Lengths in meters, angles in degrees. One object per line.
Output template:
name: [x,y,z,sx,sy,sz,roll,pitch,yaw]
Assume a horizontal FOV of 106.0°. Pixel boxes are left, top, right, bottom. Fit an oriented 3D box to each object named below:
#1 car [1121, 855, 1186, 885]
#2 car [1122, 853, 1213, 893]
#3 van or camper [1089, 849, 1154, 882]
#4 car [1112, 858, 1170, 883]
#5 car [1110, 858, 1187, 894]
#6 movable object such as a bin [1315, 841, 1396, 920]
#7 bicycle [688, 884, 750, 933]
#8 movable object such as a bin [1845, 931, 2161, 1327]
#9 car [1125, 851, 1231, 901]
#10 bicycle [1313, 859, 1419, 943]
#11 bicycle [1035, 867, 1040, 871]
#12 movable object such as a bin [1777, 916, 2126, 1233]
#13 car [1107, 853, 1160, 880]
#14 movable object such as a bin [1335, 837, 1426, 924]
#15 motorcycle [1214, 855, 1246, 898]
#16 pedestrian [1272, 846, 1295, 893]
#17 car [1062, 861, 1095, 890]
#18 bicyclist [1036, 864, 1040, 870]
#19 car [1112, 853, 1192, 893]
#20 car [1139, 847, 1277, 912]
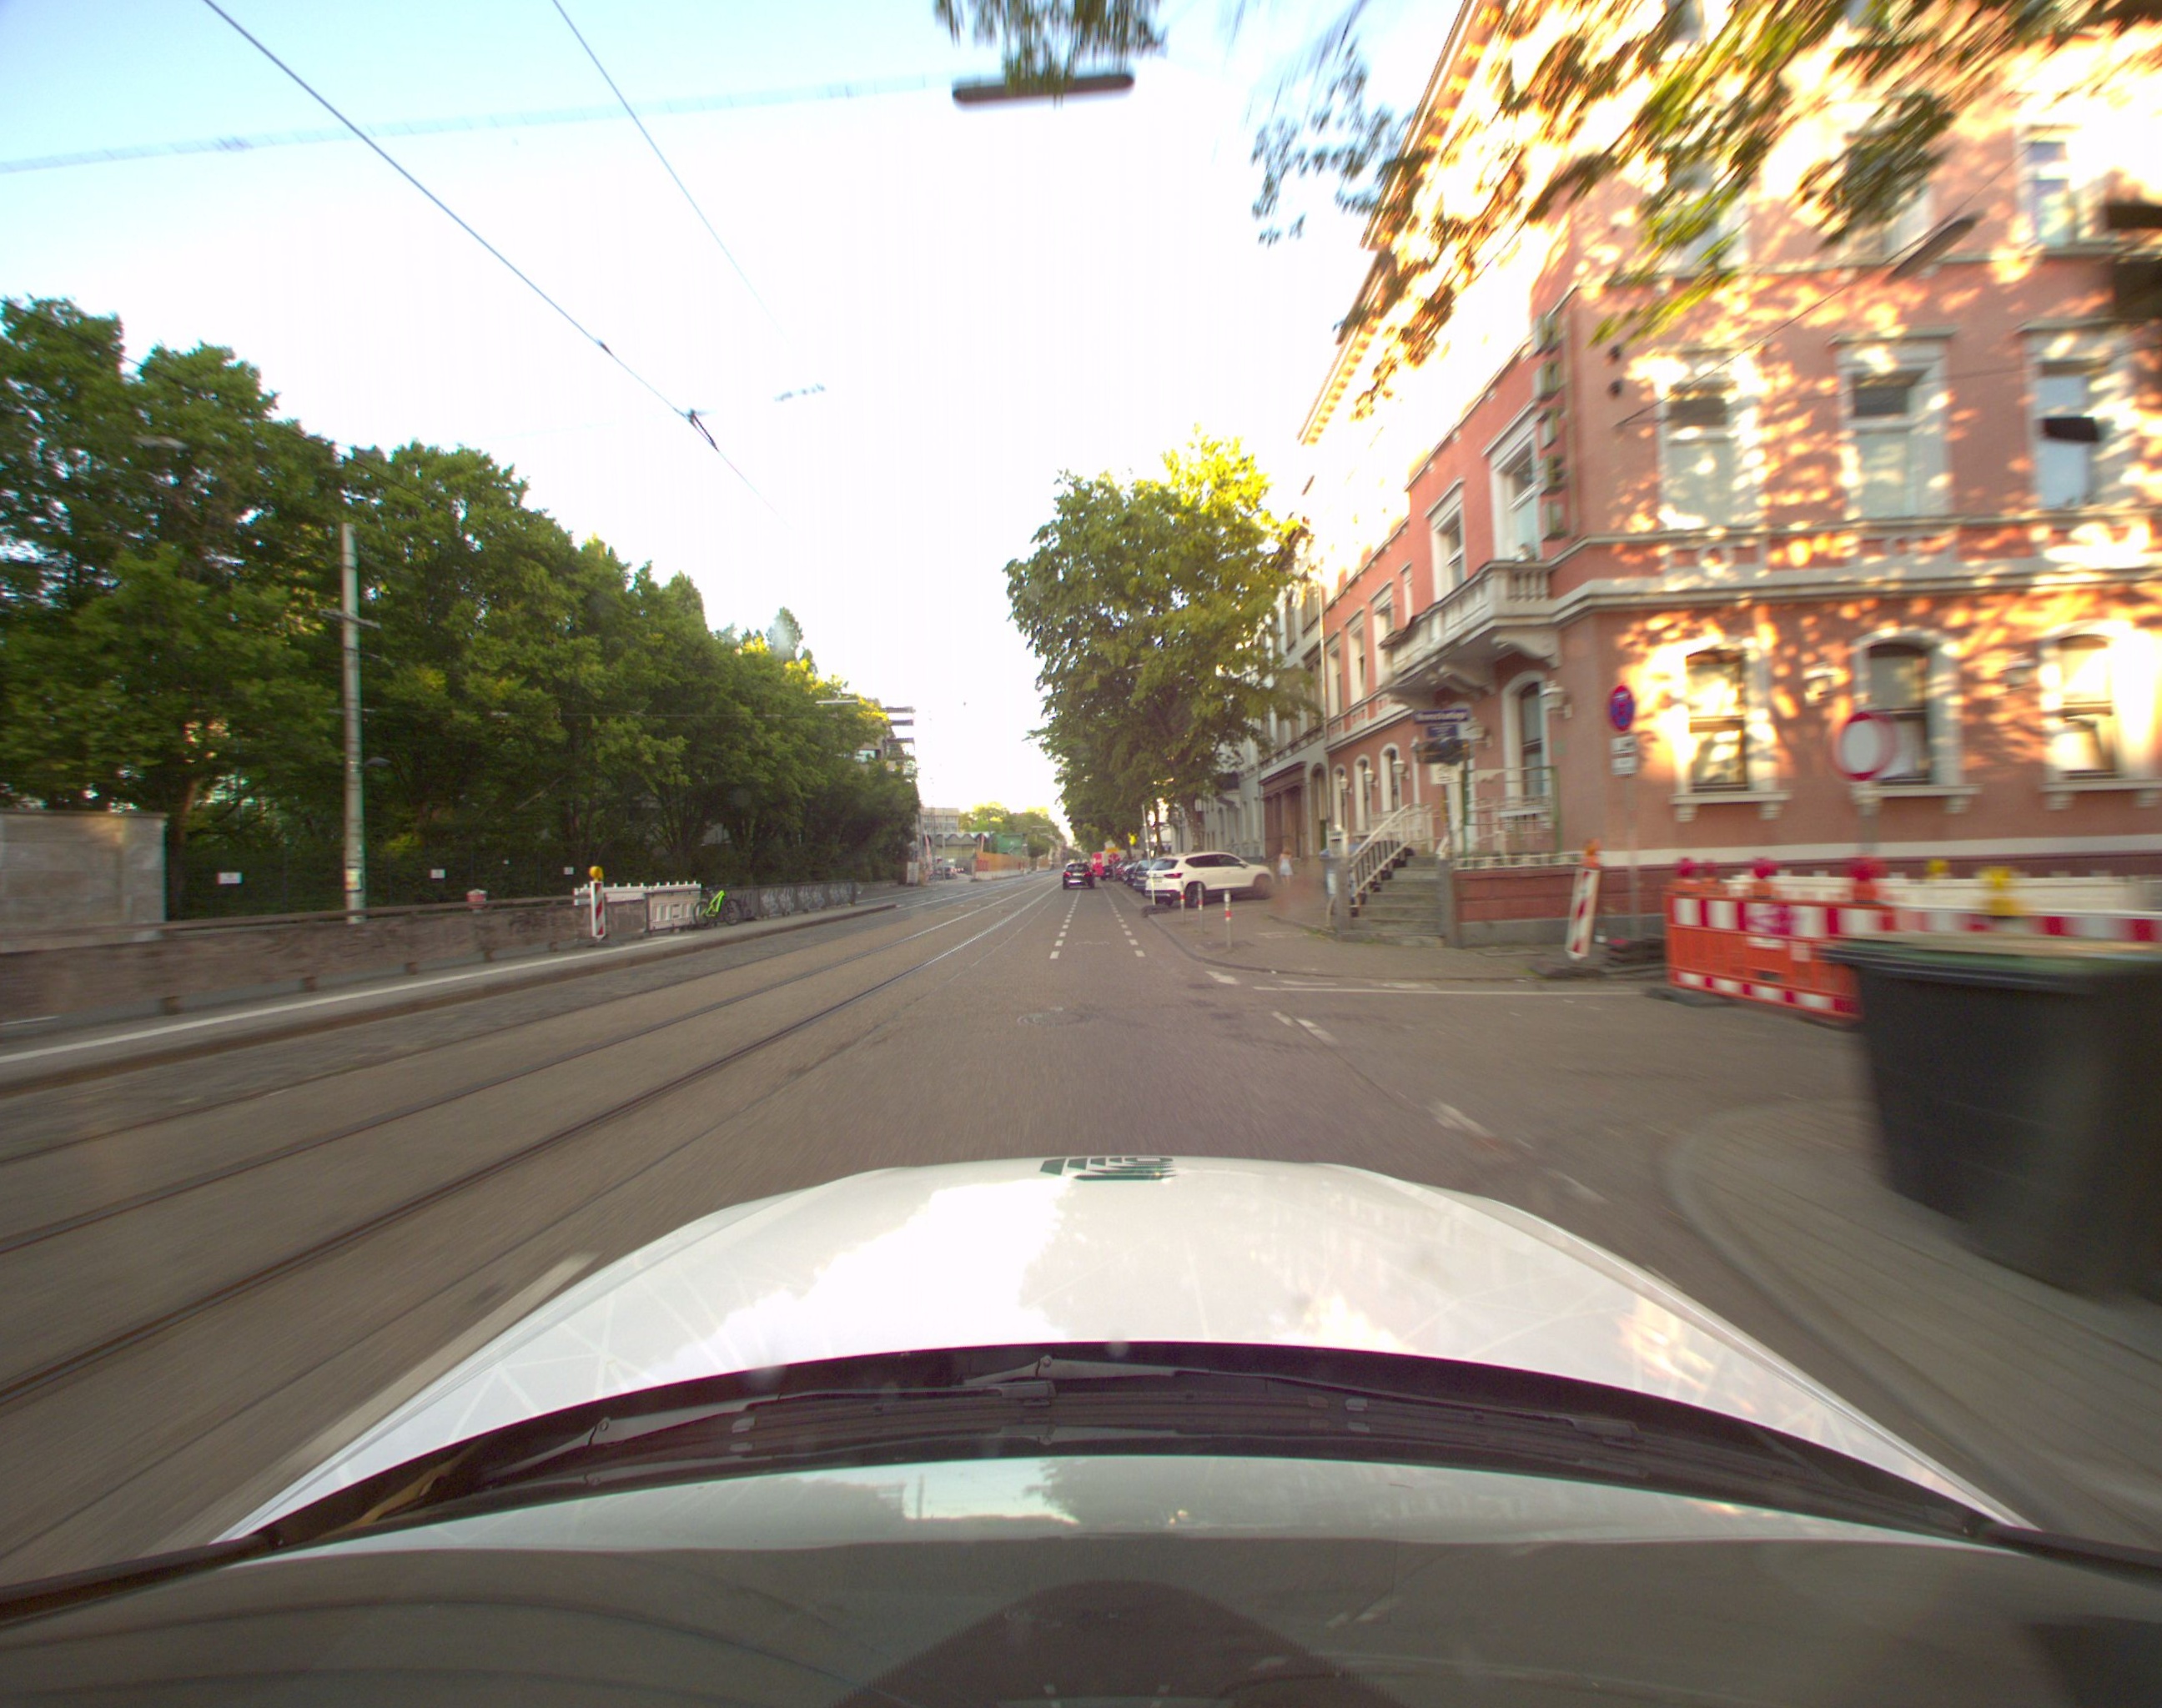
car: [4.899,1.079,55.185,3.969,1.603,1.822,-5,-1,-32]
car: [4.185,0.902,39.174,3.969,1.603,1.822,-3,-2,-32]
van or camper: [3.670,1.042,73.588,5.573,2.530,2.064,-5,-1,-35]
car: [4.547,1.278,61.886,3.963,1.603,1.824,-4,-1,-27]
car: [3.874,1.239,46.717,3.970,1.603,1.822,-6,0,-32]
movable object such as a bin: [5.528,0.523,16.509,1.137,1.502,1.399,-2,-1,0]
bicycle: [-8.899,1.322,20.104,0.460,1.075,2.024,-2,-1,5]
movable object such as a bin: [3.269,0.871,2.802,0.707,1.153,0.590,-2,-1,12]
car: [3.984,0.868,33.142,3.973,1.668,1.880,-4,-1,-37]
bicycle: [4.747,0.748,13.528,1.926,1.266,0.595,-2,-1,-35]
bicycle: [-9.373,3.149,175.827,0.945,0.849,2.694,-2,-1,-2]
movable object such as a bin: [3.610,0.866,3.454,0.788,1.153,0.590,-2,-1,12]
car: [4.452,1.069,68.879,3.964,1.765,1.824,-6,-1,-27]
movable object such as a bin: [5.499,0.471,15.075,1.137,1.502,1.399,-2,-1,0]
motorcycle: [5.236,0.762,28.516,0.866,1.392,2.086,-4,-1,15]
pedestrian: [7.012,0.528,28.194,0.584,1.609,0.624,-2,-1,0]
car: [-0.139,1.264,48.619,1.876,1.620,3.999,1,-1,0]
bicyclist: [-9.268,2.834,175.047,0.942,1.346,1.110,-3,-2,-3]
car: [3.835,1.000,43.785,3.975,1.603,1.819,-7,0,-38]
car: [3.939,0.743,25.127,3.968,1.627,1.658,-4,0,-31]
